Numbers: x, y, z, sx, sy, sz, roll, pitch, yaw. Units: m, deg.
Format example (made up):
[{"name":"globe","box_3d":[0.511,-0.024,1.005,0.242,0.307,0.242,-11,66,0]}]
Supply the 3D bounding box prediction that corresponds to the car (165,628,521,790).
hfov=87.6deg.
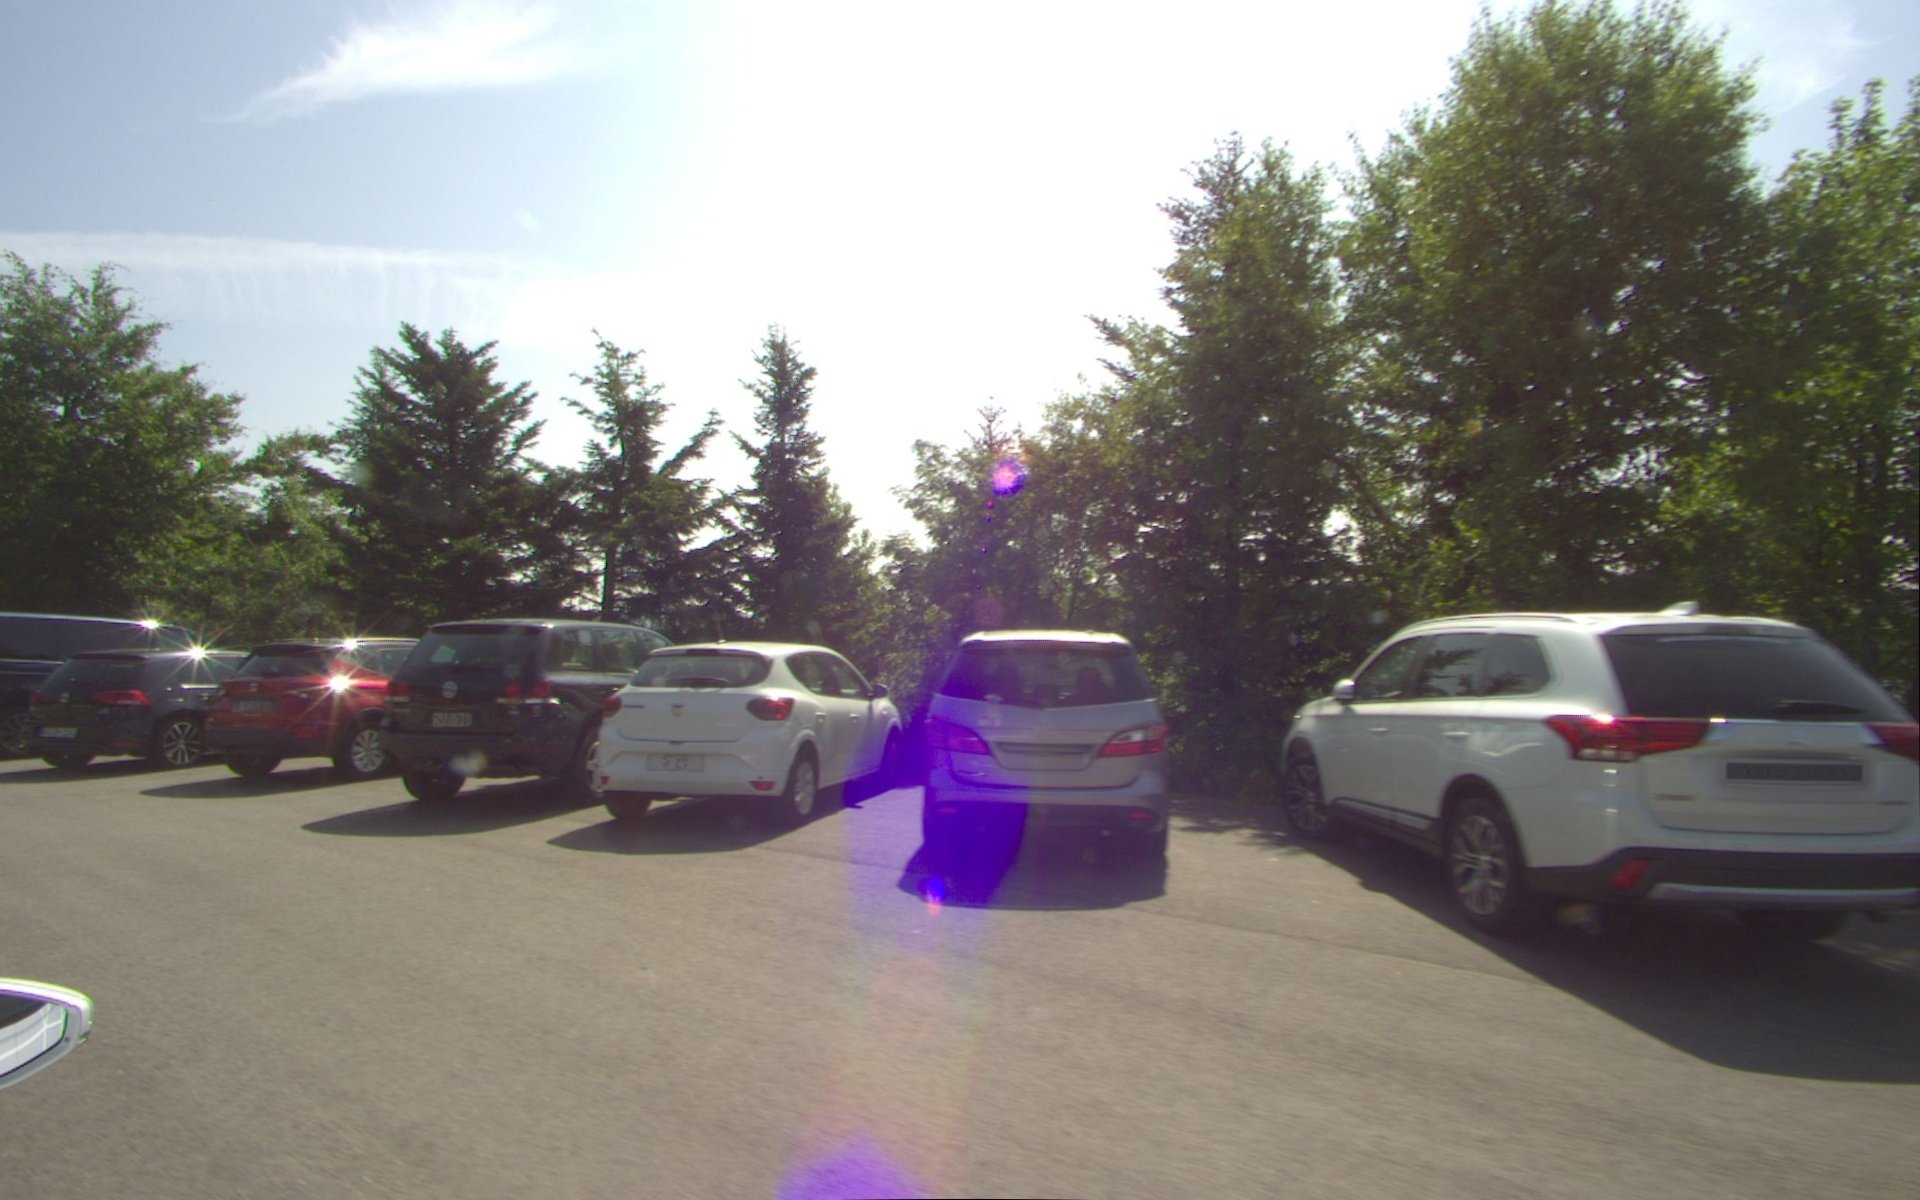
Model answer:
[{"name":"car","box_3d":[-7.191,1.233,12.258,1.827,1.609,4.004,1,-3,0]}]

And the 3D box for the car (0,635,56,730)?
[{"name":"car","box_3d":[-18.274,1.347,16.926,1.962,1.681,4.005,0,-6,10]}]

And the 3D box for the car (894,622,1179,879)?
[{"name":"car","box_3d":[0.724,1.064,8.361,1.785,1.568,4.003,1,-3,7]}]

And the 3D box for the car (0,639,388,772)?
[{"name":"car","box_3d":[-9.758,1.287,13.131,1.711,1.432,4.002,1,-3,10]}]

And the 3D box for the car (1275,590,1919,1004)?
[{"name":"car","box_3d":[3.589,0.932,6.346,1.827,1.716,4.230,1,-3,0]}]

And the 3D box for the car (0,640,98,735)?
[{"name":"car","box_3d":[-15.868,1.306,15.076,1.806,1.460,3.999,0,-3,16]}]

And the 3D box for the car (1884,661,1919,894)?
[{"name":"car","box_3d":[6.768,1.034,4.516,1.858,1.479,4.054,1,-3,9]}]

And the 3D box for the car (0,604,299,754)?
[{"name":"car","box_3d":[-12.569,1.104,14.514,1.931,1.903,4.770,0,-3,18]}]

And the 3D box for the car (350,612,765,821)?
[{"name":"car","box_3d":[-3.878,1.100,10.623,1.953,1.715,4.274,1,-3,13]}]

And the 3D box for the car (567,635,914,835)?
[{"name":"car","box_3d":[-1.812,1.146,9.675,1.734,1.494,4.001,0,-3,12]}]
